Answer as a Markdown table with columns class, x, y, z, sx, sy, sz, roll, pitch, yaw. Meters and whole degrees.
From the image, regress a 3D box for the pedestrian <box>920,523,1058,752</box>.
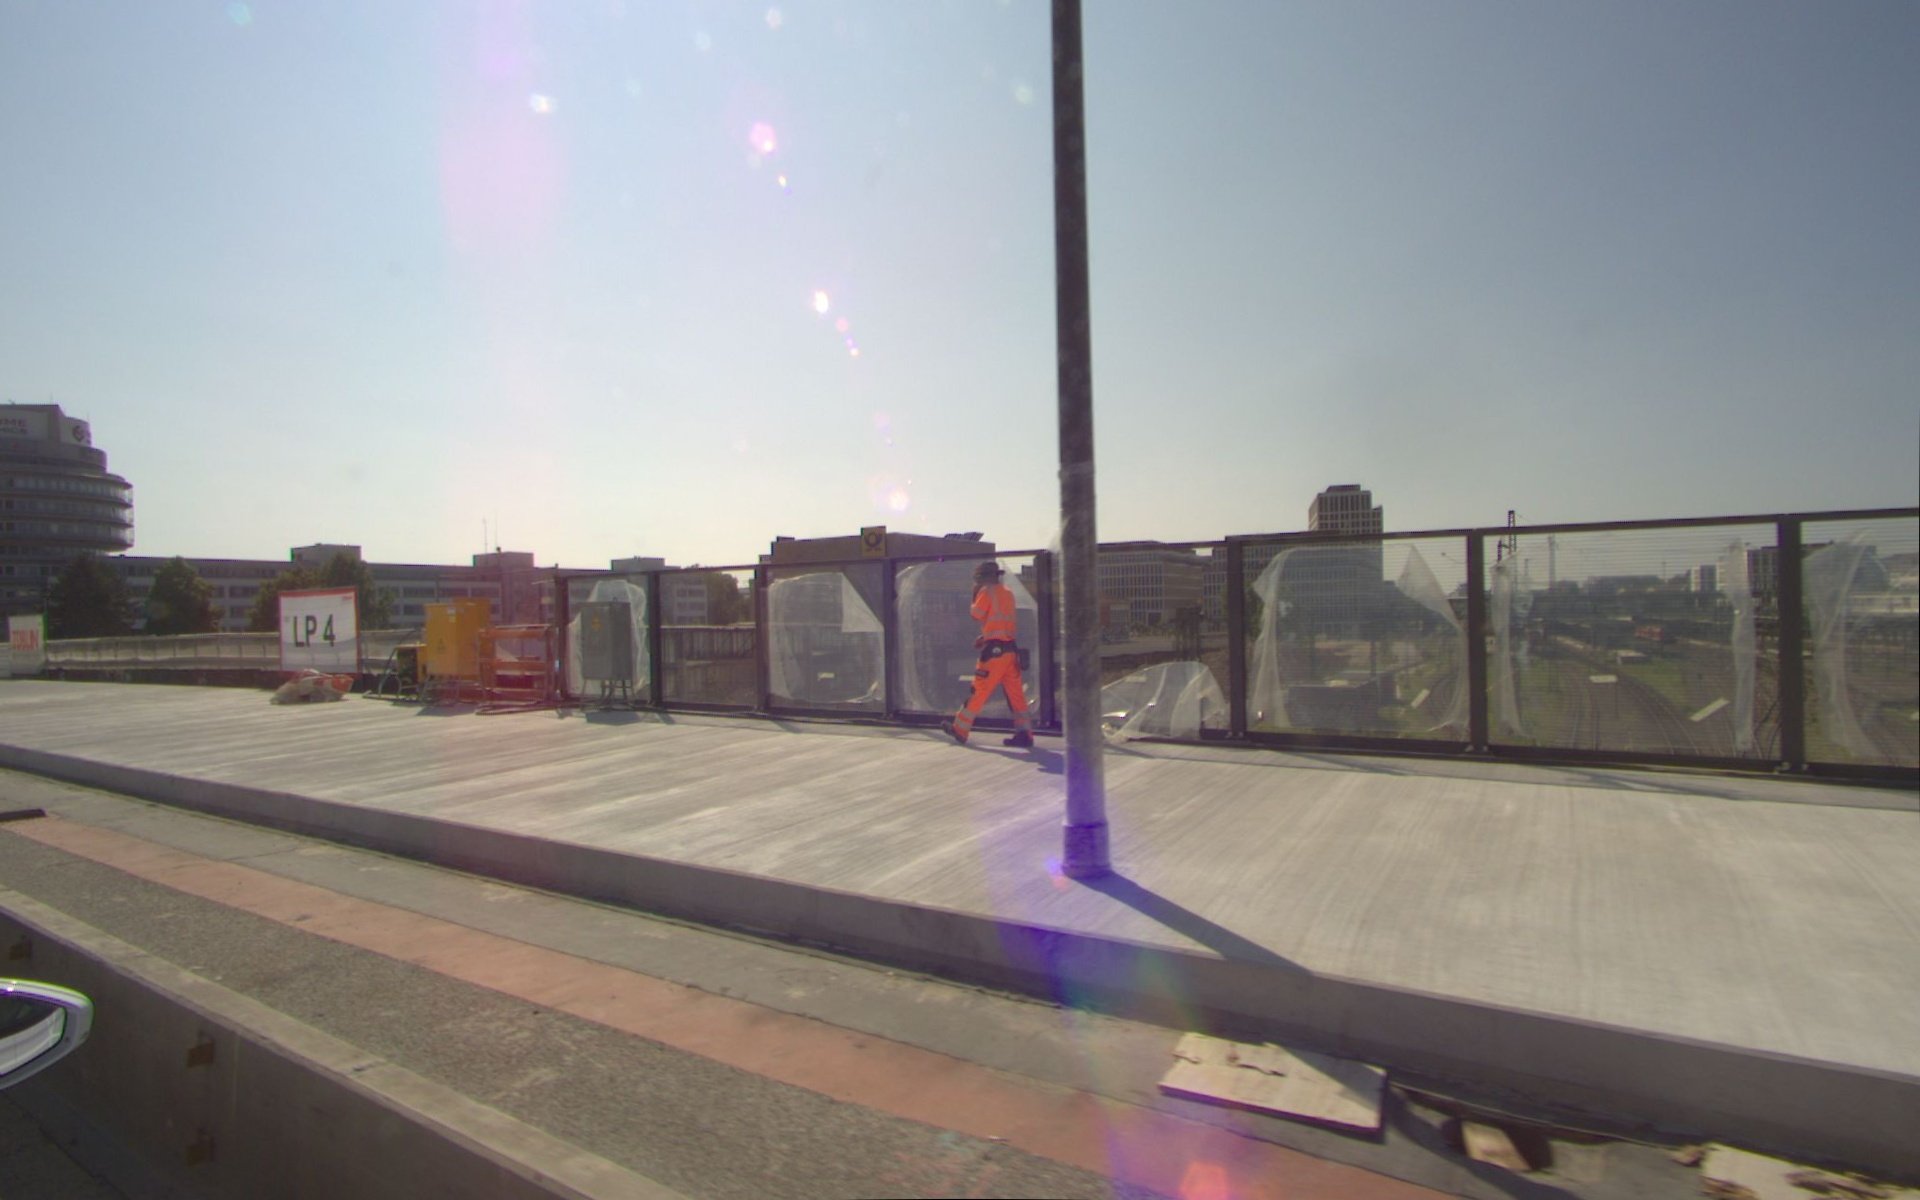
| class | x | y | z | sx | sy | sz | roll | pitch | yaw |
| --- | --- | --- | --- | --- | --- | --- | --- | --- | --- |
| pedestrian | 0.273 | 0.332 | 9.264 | 1.002 | 1.991 | 0.729 | -1 | 1 | 33 |
